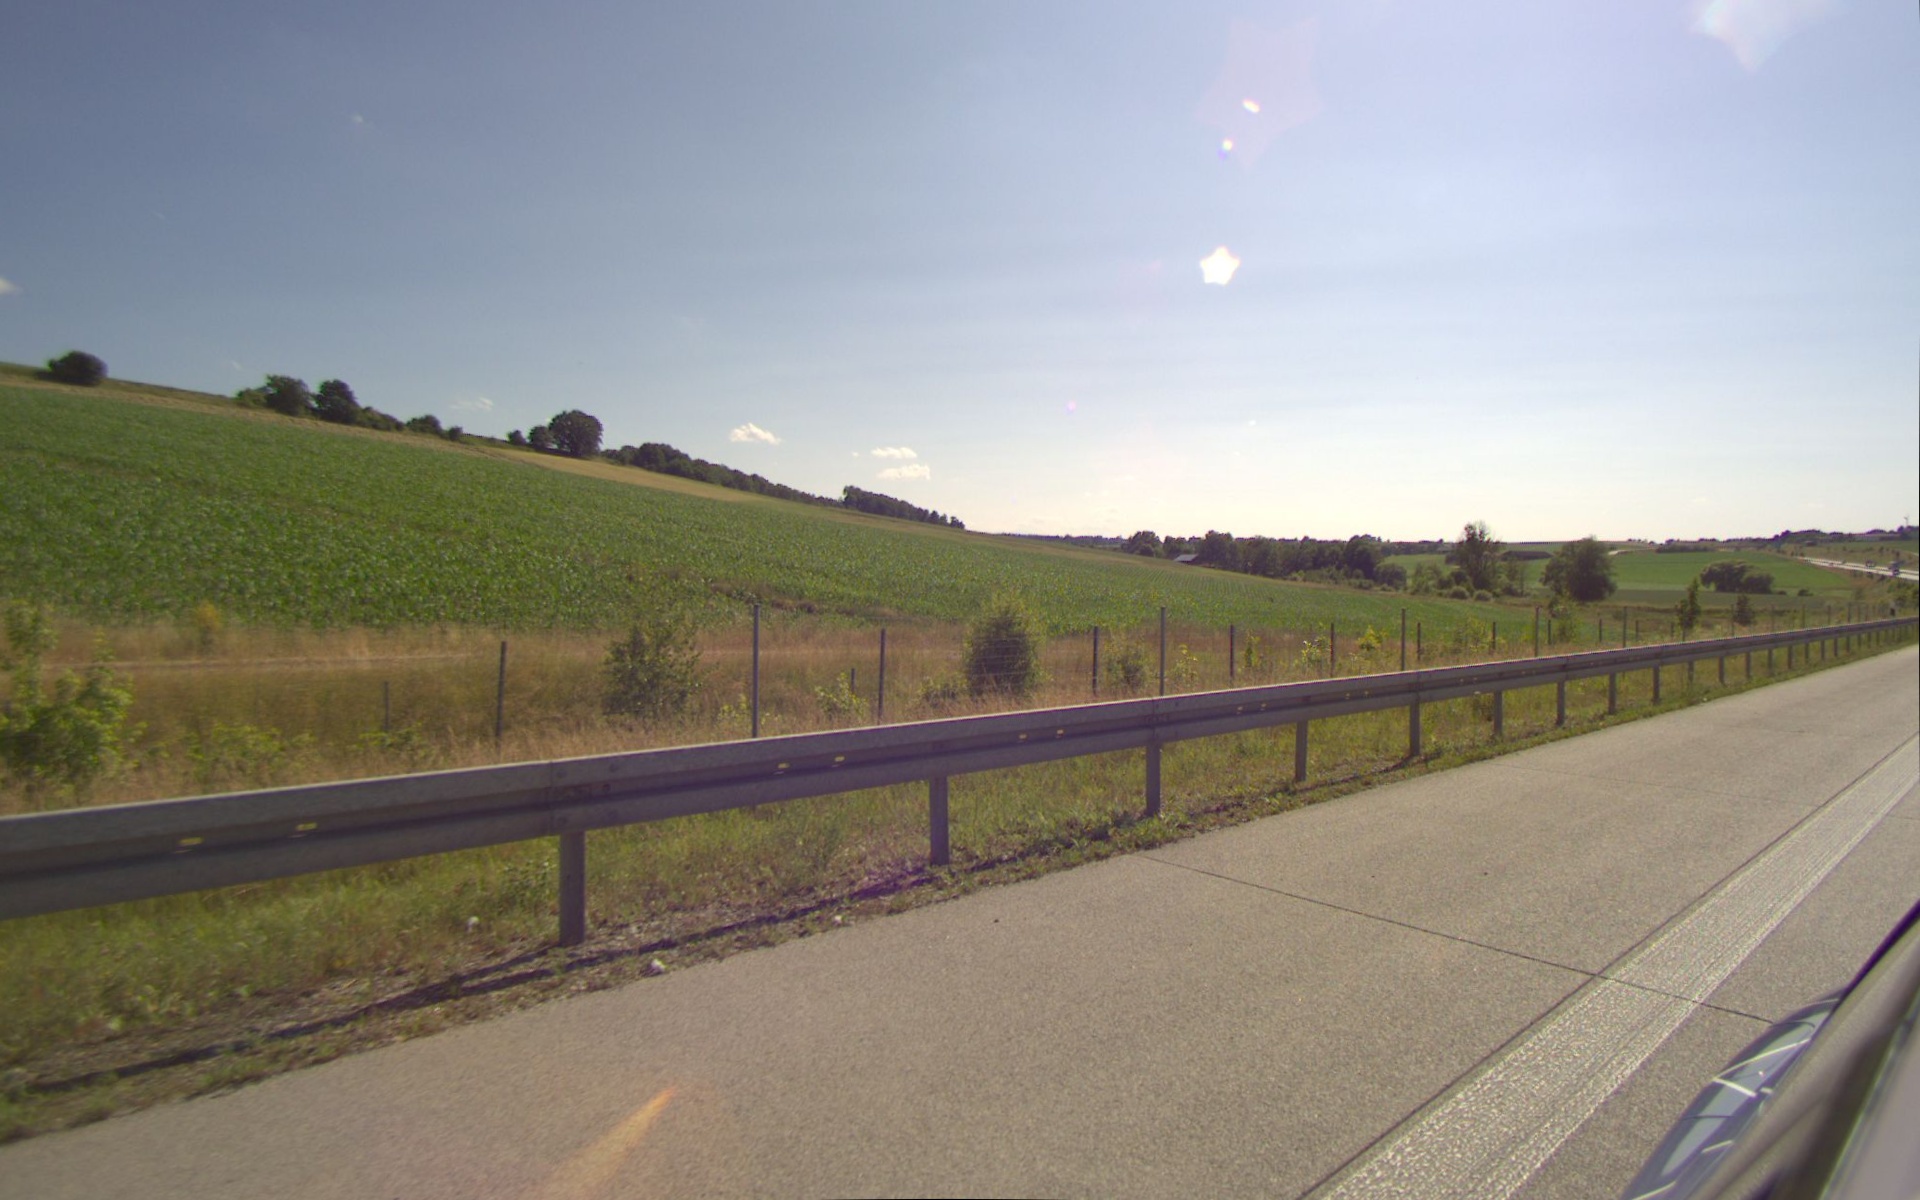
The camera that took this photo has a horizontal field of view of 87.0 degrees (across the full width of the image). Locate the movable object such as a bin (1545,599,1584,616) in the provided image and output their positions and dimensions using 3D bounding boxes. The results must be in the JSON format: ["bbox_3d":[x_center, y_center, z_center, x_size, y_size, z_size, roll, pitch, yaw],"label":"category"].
[{"bbox_3d":[113.284,1.414,189.706,3.221,2.805,6.239,-2,2,-4],"label":"movable object such as a bin"}]
